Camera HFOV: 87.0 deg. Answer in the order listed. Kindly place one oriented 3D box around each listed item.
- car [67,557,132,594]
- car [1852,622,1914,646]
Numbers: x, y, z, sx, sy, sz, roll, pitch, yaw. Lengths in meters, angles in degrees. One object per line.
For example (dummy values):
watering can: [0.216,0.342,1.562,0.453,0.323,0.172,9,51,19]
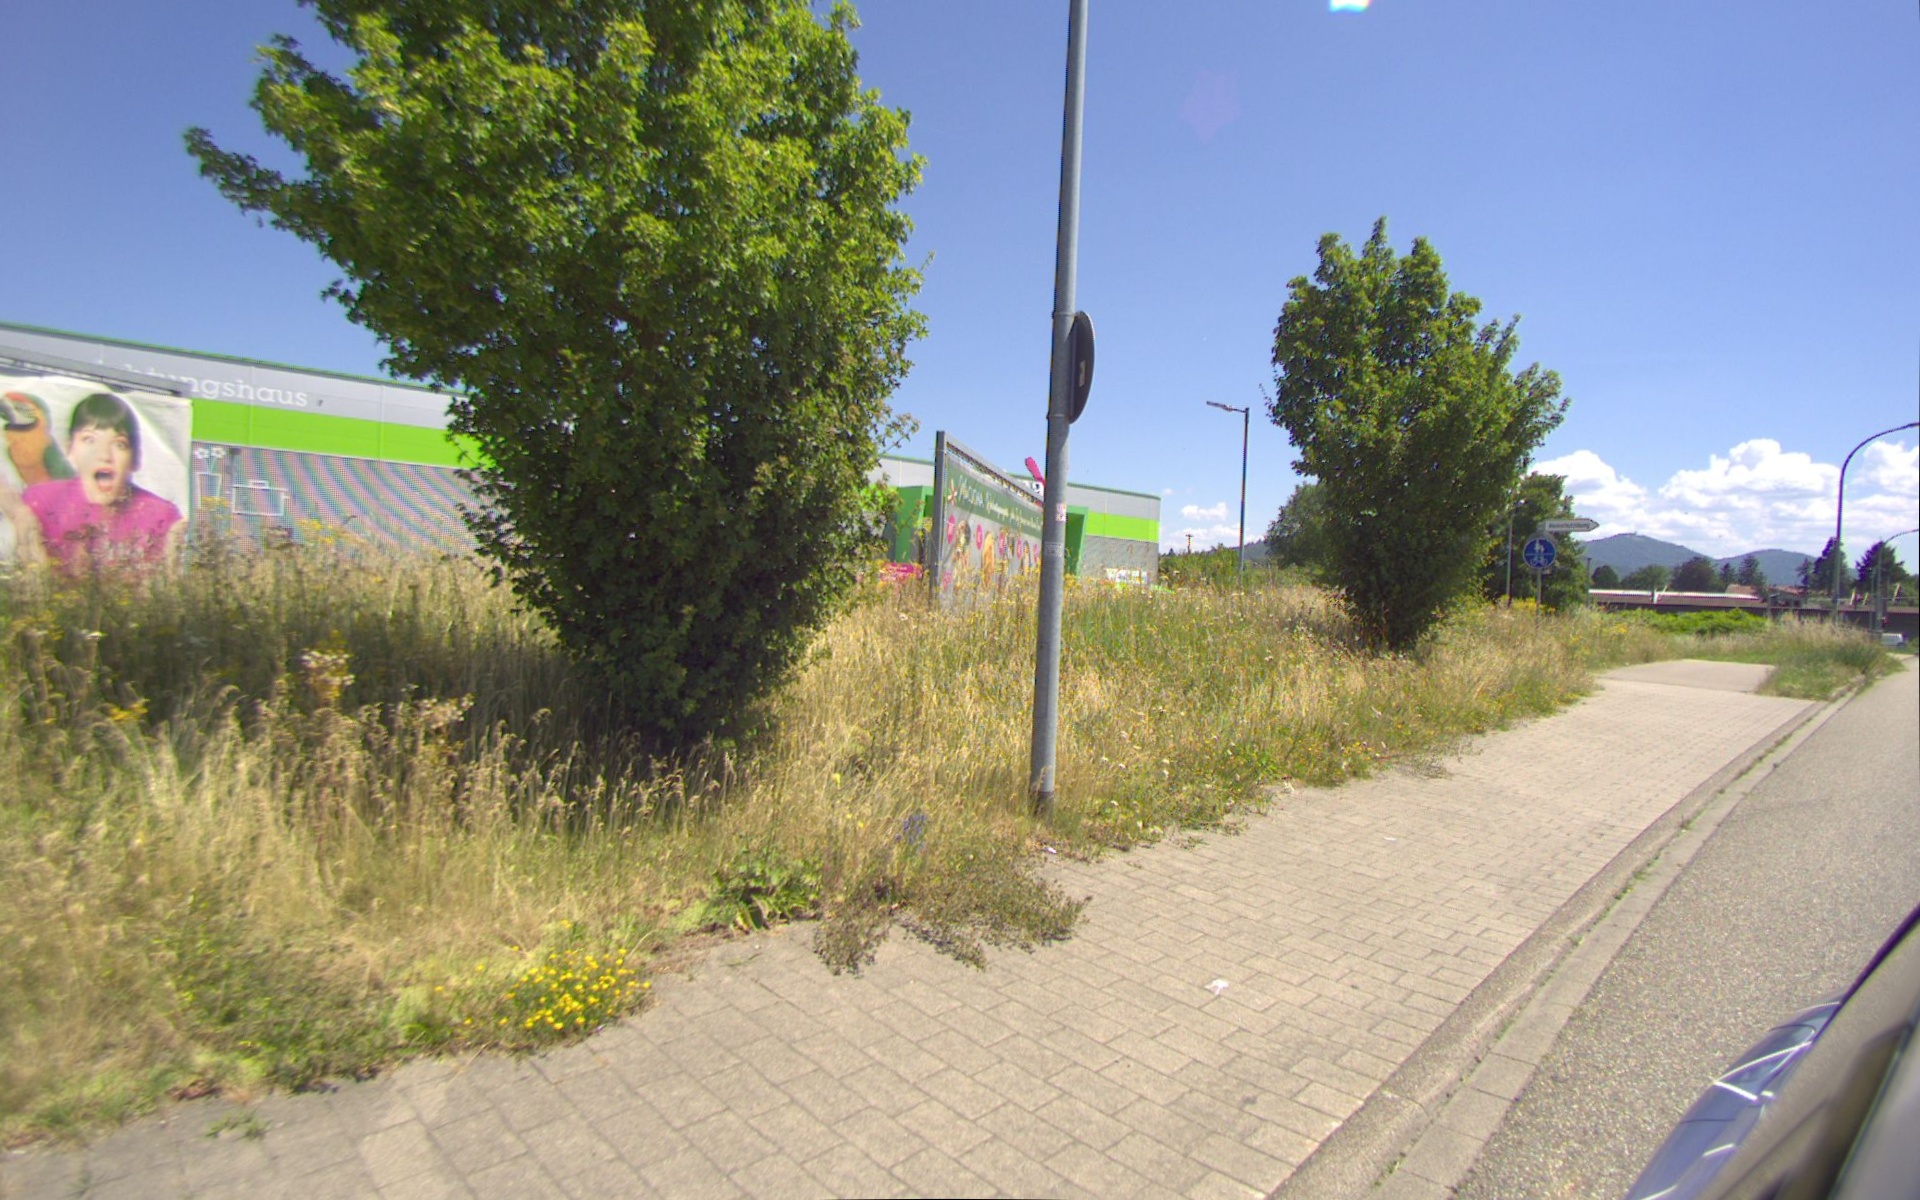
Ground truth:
car: [-38.494,-1.134,45.223,1.967,1.537,4.657,-1,3,-43]
car: [98.619,3.615,108.162,1.964,2.363,4.678,0,1,-38]
